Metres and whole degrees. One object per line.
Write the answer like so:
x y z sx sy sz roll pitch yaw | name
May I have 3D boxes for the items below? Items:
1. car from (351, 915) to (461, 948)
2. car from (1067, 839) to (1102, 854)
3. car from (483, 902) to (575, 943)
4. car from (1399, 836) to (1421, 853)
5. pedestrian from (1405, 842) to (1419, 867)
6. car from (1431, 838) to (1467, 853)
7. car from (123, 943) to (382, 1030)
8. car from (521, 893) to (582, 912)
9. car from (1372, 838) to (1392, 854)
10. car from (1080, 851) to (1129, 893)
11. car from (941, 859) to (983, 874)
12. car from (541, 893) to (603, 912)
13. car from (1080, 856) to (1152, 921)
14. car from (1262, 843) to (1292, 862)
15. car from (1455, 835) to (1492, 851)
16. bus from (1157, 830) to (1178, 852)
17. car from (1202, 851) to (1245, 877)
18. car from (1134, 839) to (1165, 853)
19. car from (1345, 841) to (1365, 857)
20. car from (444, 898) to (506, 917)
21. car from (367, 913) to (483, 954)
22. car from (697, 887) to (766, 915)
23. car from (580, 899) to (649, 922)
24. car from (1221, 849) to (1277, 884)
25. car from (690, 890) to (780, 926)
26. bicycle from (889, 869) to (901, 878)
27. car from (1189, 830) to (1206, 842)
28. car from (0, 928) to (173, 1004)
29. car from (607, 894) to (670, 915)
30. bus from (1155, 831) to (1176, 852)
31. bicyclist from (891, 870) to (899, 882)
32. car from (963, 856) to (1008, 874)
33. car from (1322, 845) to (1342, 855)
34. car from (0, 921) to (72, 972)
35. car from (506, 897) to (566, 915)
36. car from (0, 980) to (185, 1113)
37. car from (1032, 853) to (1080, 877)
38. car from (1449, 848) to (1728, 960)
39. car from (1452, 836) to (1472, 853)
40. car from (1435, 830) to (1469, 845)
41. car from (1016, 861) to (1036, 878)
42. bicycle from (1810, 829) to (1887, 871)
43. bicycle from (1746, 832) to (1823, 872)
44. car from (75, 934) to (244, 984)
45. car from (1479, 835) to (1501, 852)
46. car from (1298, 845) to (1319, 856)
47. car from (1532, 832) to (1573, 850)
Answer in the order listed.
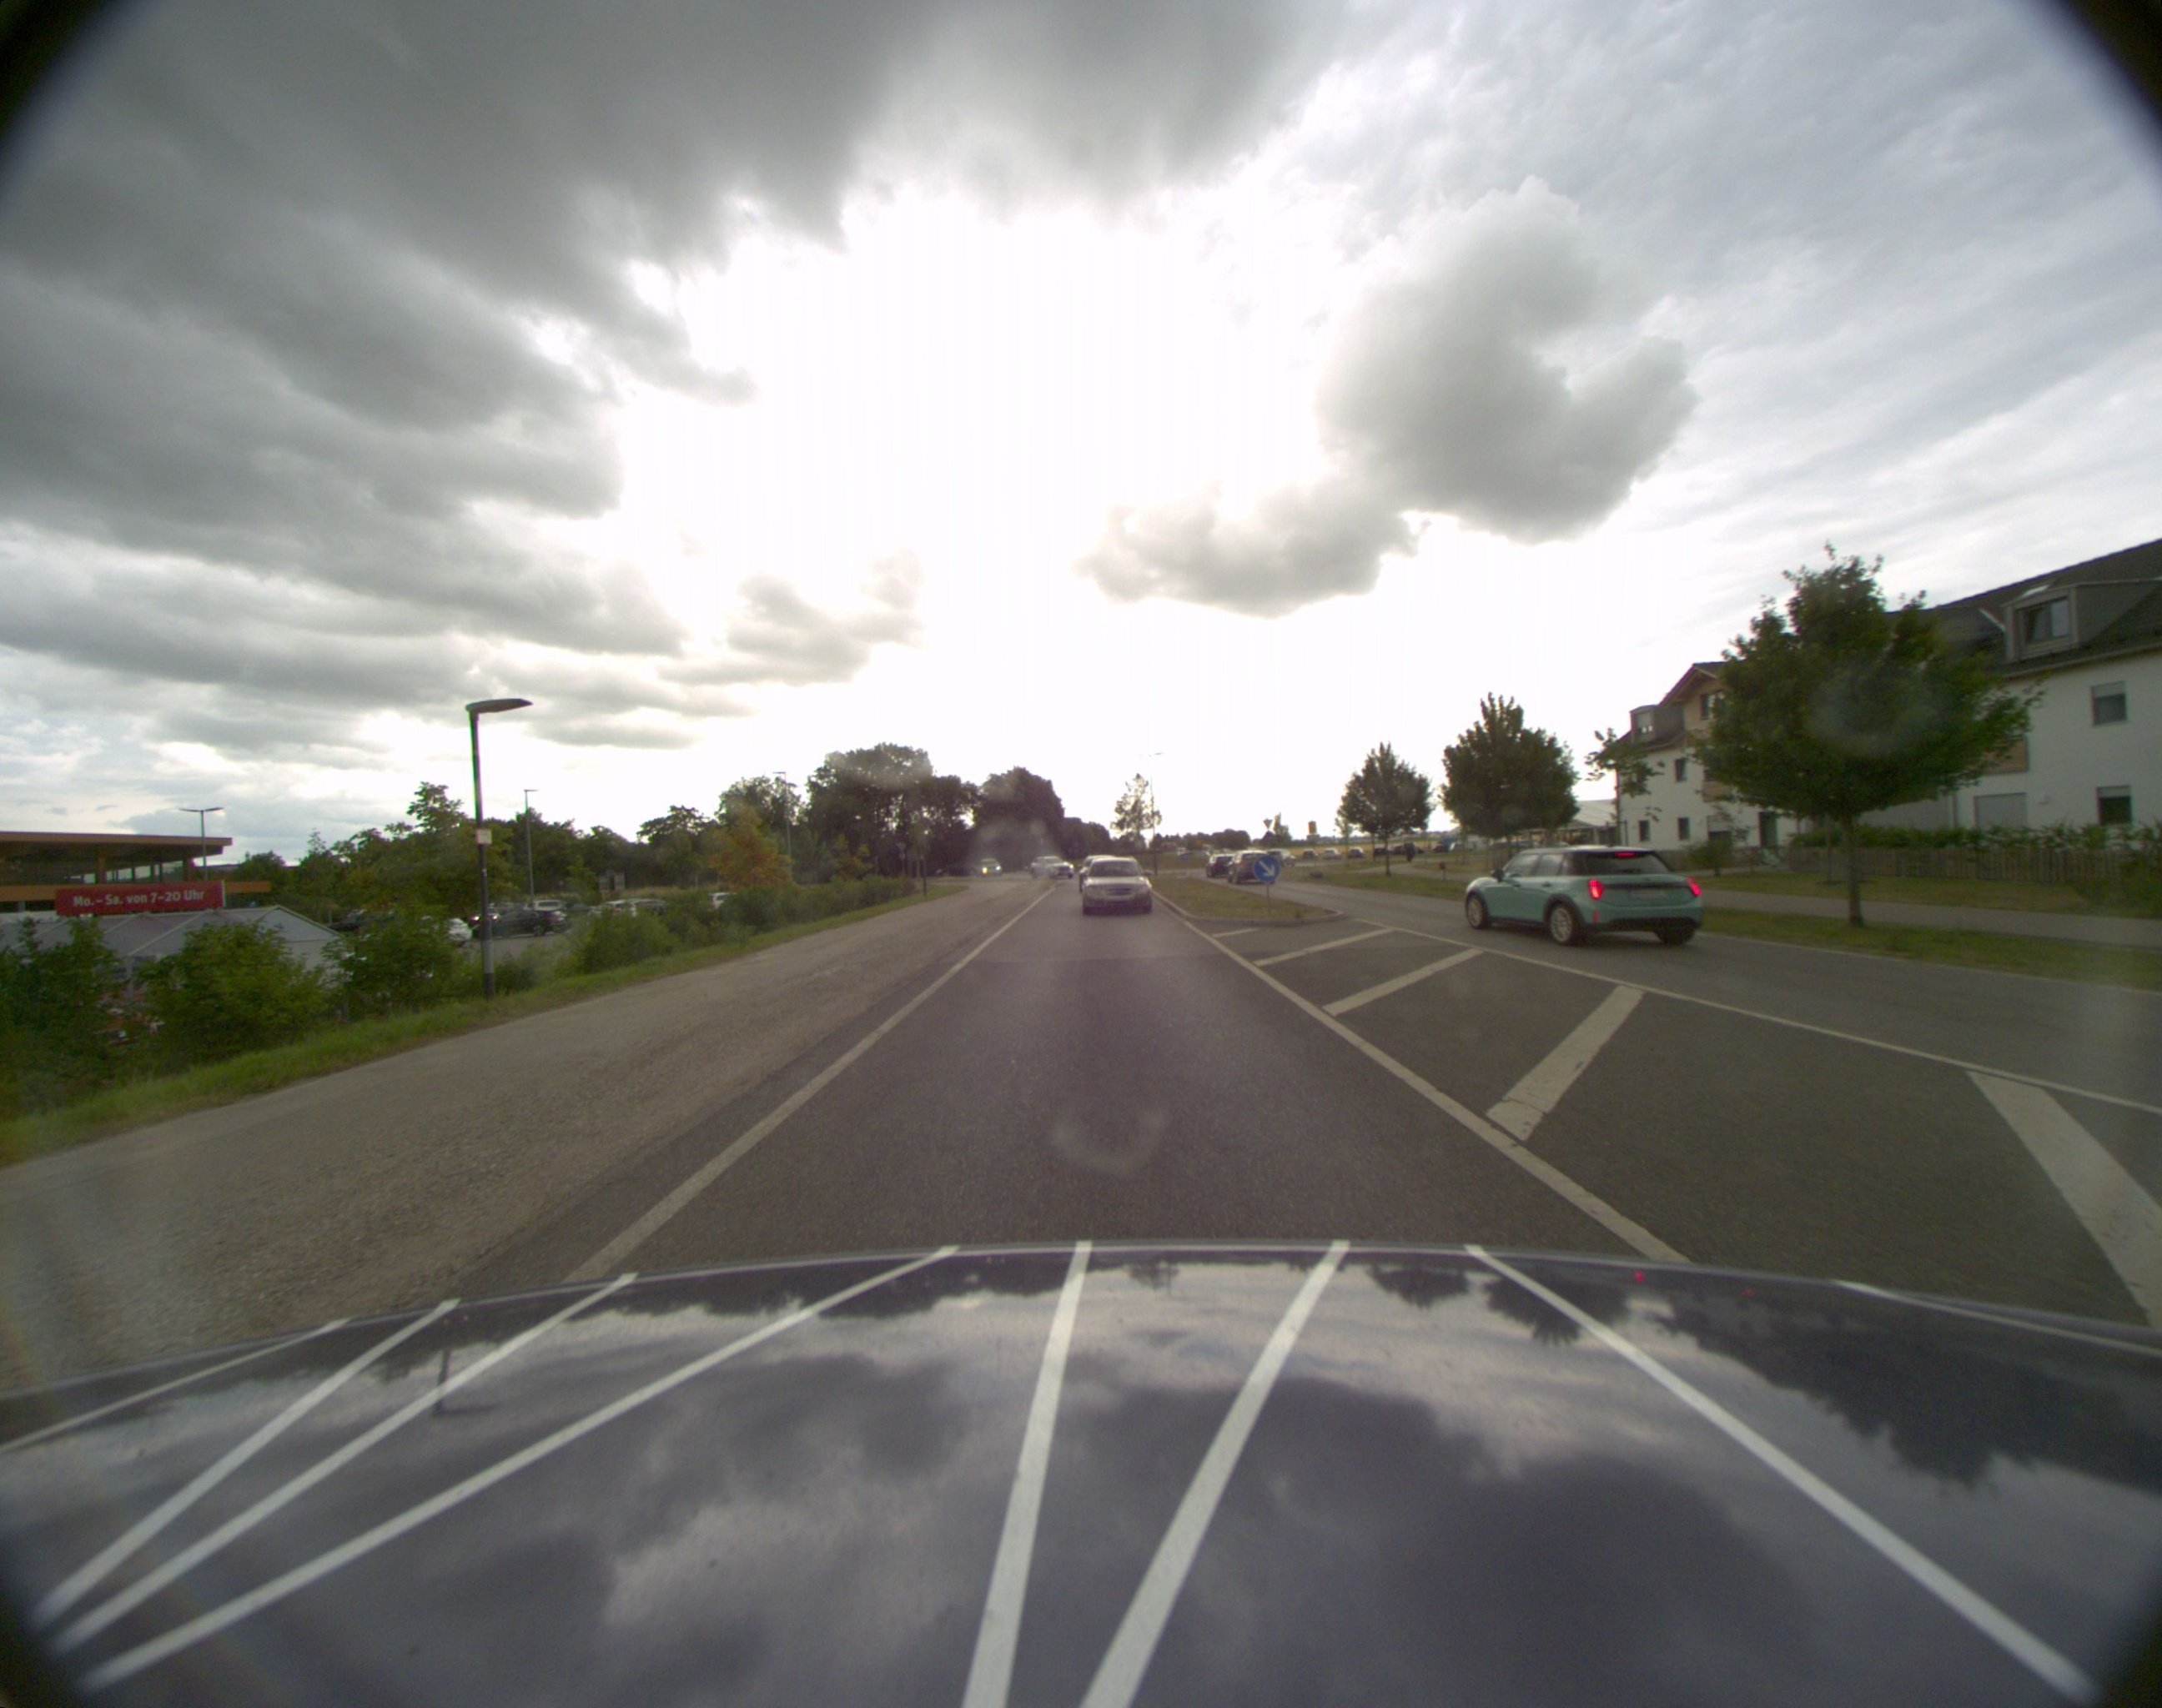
-35.403 4.053 39.935 4.127 1.476 2.001 -1 0 5 | car
0.490 -0.993 95.743 1.994 1.794 4.781 -1 0 33 | car
-28.809 3.564 39.732 3.390 1.696 1.802 -5 0 0 | car
40.881 -1.183 94.584 1.996 2.002 4.005 -1 0 16 | car
20.319 0.041 46.670 0.547 1.521 0.586 -4 0 1 | pedestrian
51.133 -1.182 105.616 4.001 2.002 1.998 -1 0 -11 | car
-18.094 2.873 16.727 3.766 1.529 1.676 -1 0 -1 | car
-46.210 4.216 66.398 1.697 1.352 4.007 -1 0 28 | car
38.119 -1.033 96.159 1.995 2.002 4.007 -1 0 26 | car
1.095 0.722 33.219 1.869 1.578 5.063 -3 1 3 | car
-12.495 1.282 79.729 4.004 1.412 1.713 -1 0 -21 | car
-43.232 4.123 64.660 1.697 1.352 4.007 -1 0 28 | car
0.985 0.832 20.403 1.700 1.458 4.001 -2 1 4 | car
15.910 -0.102 61.842 1.829 1.480 4.218 -1 0 7 | car
52.904 -1.448 102.379 4.000 2.002 1.999 -1 0 -8 | car
13.461 -2.030 118.581 2.990 3.261 6.486 -1 0 4 | bus
8.649 0.575 46.390 1.830 1.480 4.350 -1 0 1 | car
8.686 -1.059 95.525 1.994 1.674 4.008 -1 0 38 | car
35.391 -0.608 98.021 1.995 2.002 4.007 -1 0 26 | car
-54.922 4.841 68.949 1.697 1.352 4.007 -1 0 28 | car
-28.994 3.492 33.659 3.558 1.524 1.753 -1 0 0 | car
-24.852 3.323 54.151 1.697 1.707 4.250 -1 0 28 | car
-30.979 3.729 50.501 3.991 1.352 1.847 -1 0 21 | car
8.025 0.578 36.627 1.830 1.573 4.216 -1 0 1 | car
-18.341 2.857 40.415 3.997 1.696 1.657 -1 0 0 | car
-19.586 2.066 79.899 1.297 0.956 0.569 -1 0 41 | bicycle
16.264 -2.505 105.919 1.774 1.435 4.000 -1 0 1 | car
-29.247 3.176 21.798 4.269 1.860 2.001 -1 0 5 | car
-35.160 3.987 60.462 1.697 1.352 4.007 -1 0 28 | car
13.898 -2.075 125.198 2.990 3.261 6.704 -1 0 4 | bus
-19.558 2.298 79.875 0.657 1.236 0.556 -1 1 41 | bicyclist
-8.530 1.013 67.921 3.760 1.510 2.004 -1 0 42 | car
32.715 -0.539 99.012 1.995 1.280 4.007 -1 0 26 | car
-47.840 4.072 33.625 3.995 2.002 2.001 -1 0 5 | car
-48.861 4.643 68.203 1.697 1.352 4.007 -1 0 28 | car
-16.145 2.817 11.204 3.766 1.529 1.676 -1 0 -1 | car
-1.898 0.822 56.962 2.003 1.674 3.991 -2 0 -29 | car
7.670 0.659 12.036 1.774 1.435 4.000 -1 0 1 | car
47.399 -1.185 94.455 1.995 2.002 4.007 -1 0 29 | car
53.680 -2.359 109.836 4.001 2.002 1.998 -1 0 -11 | car
-6.054 1.678 83.954 2.000 1.827 3.998 -1 0 -6 | car
27.738 -0.136 27.499 0.684 1.420 2.094 -1 0 1 | bicycle
25.798 -0.058 27.923 0.684 1.404 2.344 -1 0 1 | bicycle
-34.246 3.895 28.303 4.127 1.543 2.001 -1 0 5 | car
49.882 -1.251 92.641 2.227 2.002 4.007 -1 0 29 | car
30.080 -0.470 100.528 1.995 1.280 4.007 -1 0 26 | car
57.335 -1.572 92.428 4.001 2.002 1.998 -1 0 -11 | car
